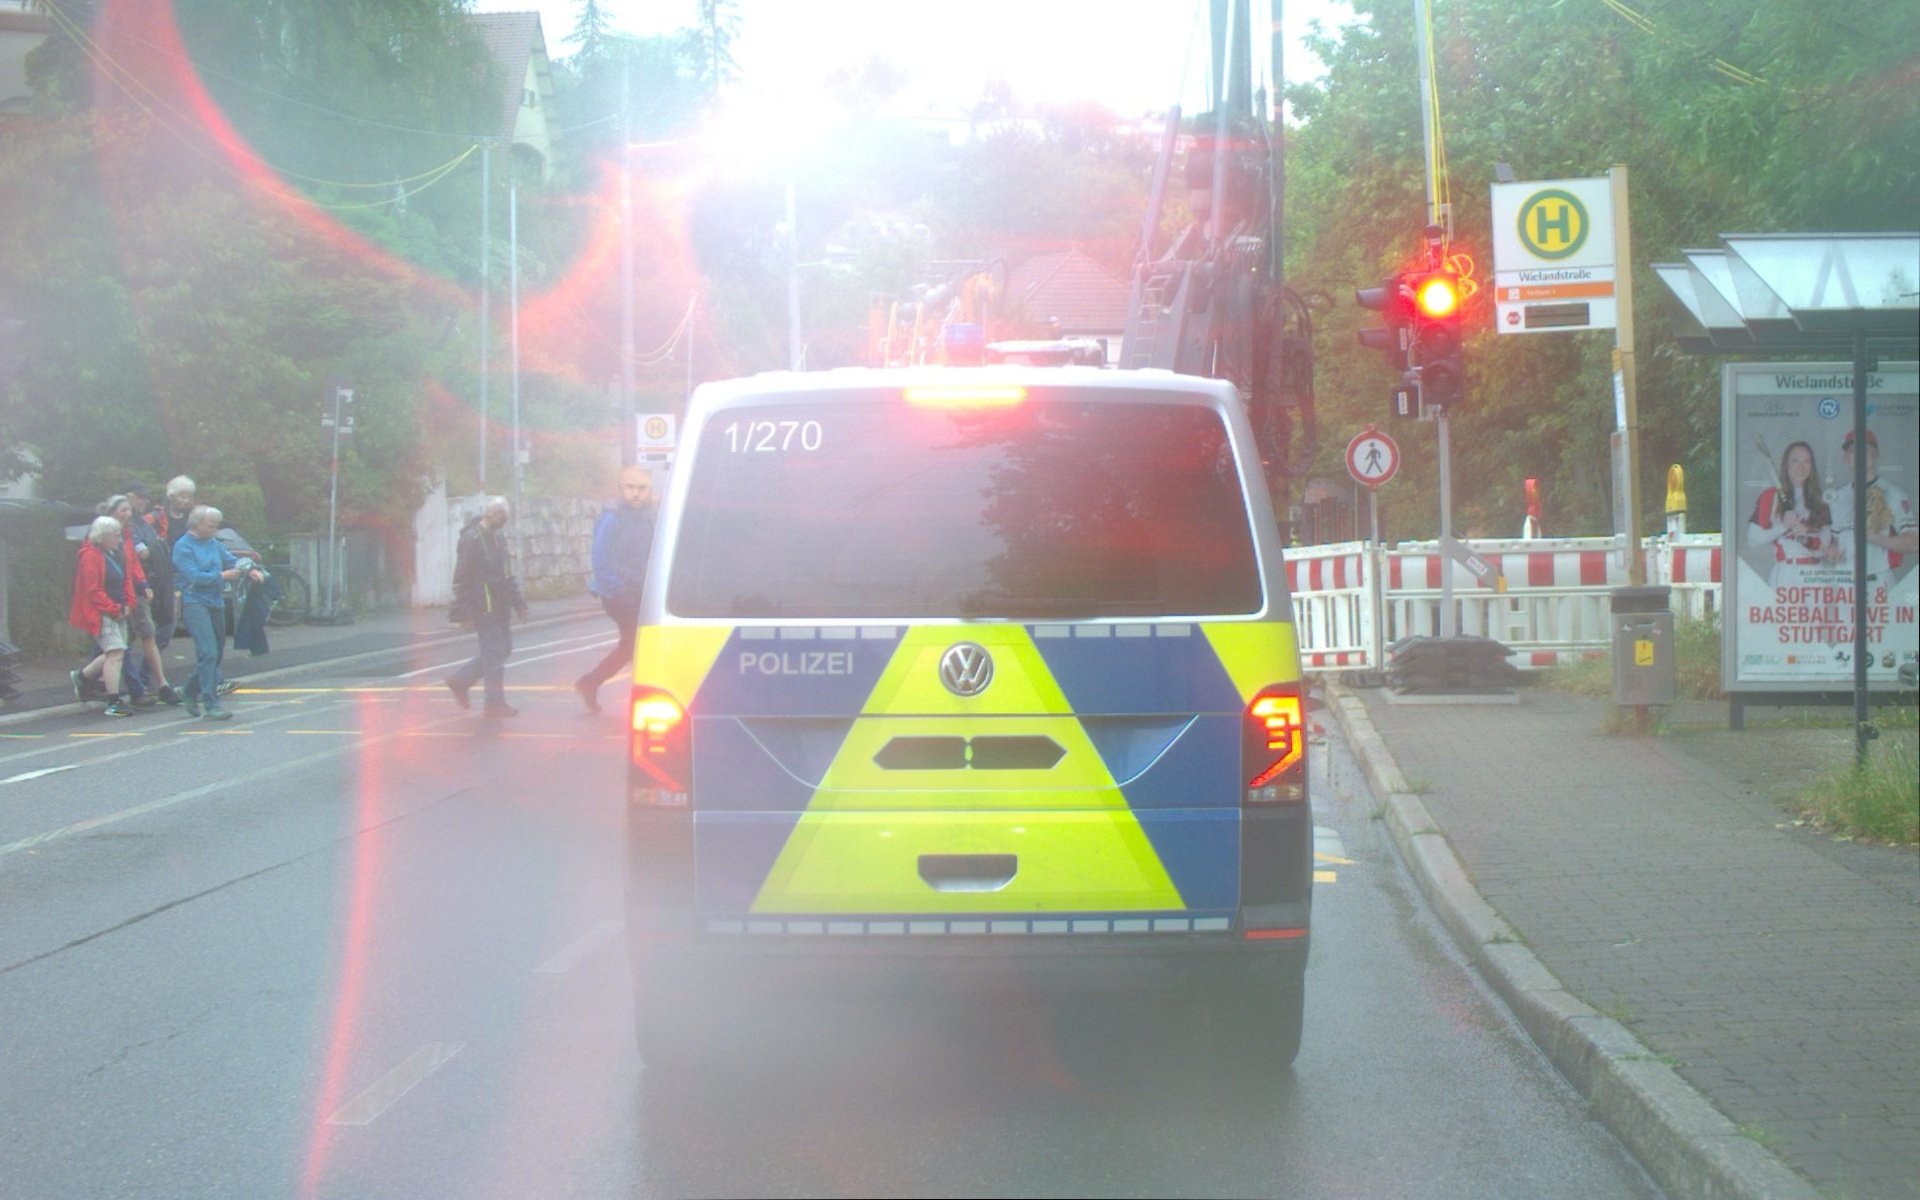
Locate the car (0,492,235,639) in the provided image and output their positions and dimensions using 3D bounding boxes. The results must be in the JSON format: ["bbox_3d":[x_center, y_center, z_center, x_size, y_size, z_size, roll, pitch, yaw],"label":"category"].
[{"bbox_3d":[-9.986,-0.374,36.746,3.989,1.481,1.759,1,-1,11],"label":"car"}]

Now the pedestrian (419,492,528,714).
[{"bbox_3d":[-3.556,0.026,25.191,0.686,1.598,0.606,1,-1,-1],"label":"pedestrian"}]

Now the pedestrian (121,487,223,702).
[{"bbox_3d":[-6.354,-0.041,27.732,0.626,1.709,0.593,1,-1,2],"label":"pedestrian"}]

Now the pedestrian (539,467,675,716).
[{"bbox_3d":[-2.585,-0.058,25.284,0.889,1.781,0.828,1,-1,-1],"label":"pedestrian"}]

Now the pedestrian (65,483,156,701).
[{"bbox_3d":[-6.561,-0.059,26.573,0.549,1.662,0.414,1,-1,2],"label":"pedestrian"}]

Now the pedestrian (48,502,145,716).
[{"bbox_3d":[-6.468,0.071,25.771,0.563,1.577,0.468,1,-1,2],"label":"pedestrian"}]

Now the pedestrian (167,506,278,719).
[{"bbox_3d":[-5.354,0.092,24.968,0.626,1.517,0.593,1,-1,2],"label":"pedestrian"}]

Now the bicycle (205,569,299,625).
[{"bbox_3d":[-8.605,-0.034,41.793,1.054,0.660,0.320,1,-1,11],"label":"bicycle"}]

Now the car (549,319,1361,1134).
[{"bbox_3d":[-0.034,0.245,10.724,1.993,2.006,4.402,1,2,0],"label":"car"}]

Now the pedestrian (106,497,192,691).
[{"bbox_3d":[-6.381,-0.045,27.059,0.525,1.502,0.429,1,-1,2],"label":"pedestrian"}]

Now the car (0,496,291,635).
[{"bbox_3d":[-9.808,-0.390,38.894,3.989,1.481,1.759,1,-1,11],"label":"car"}]
